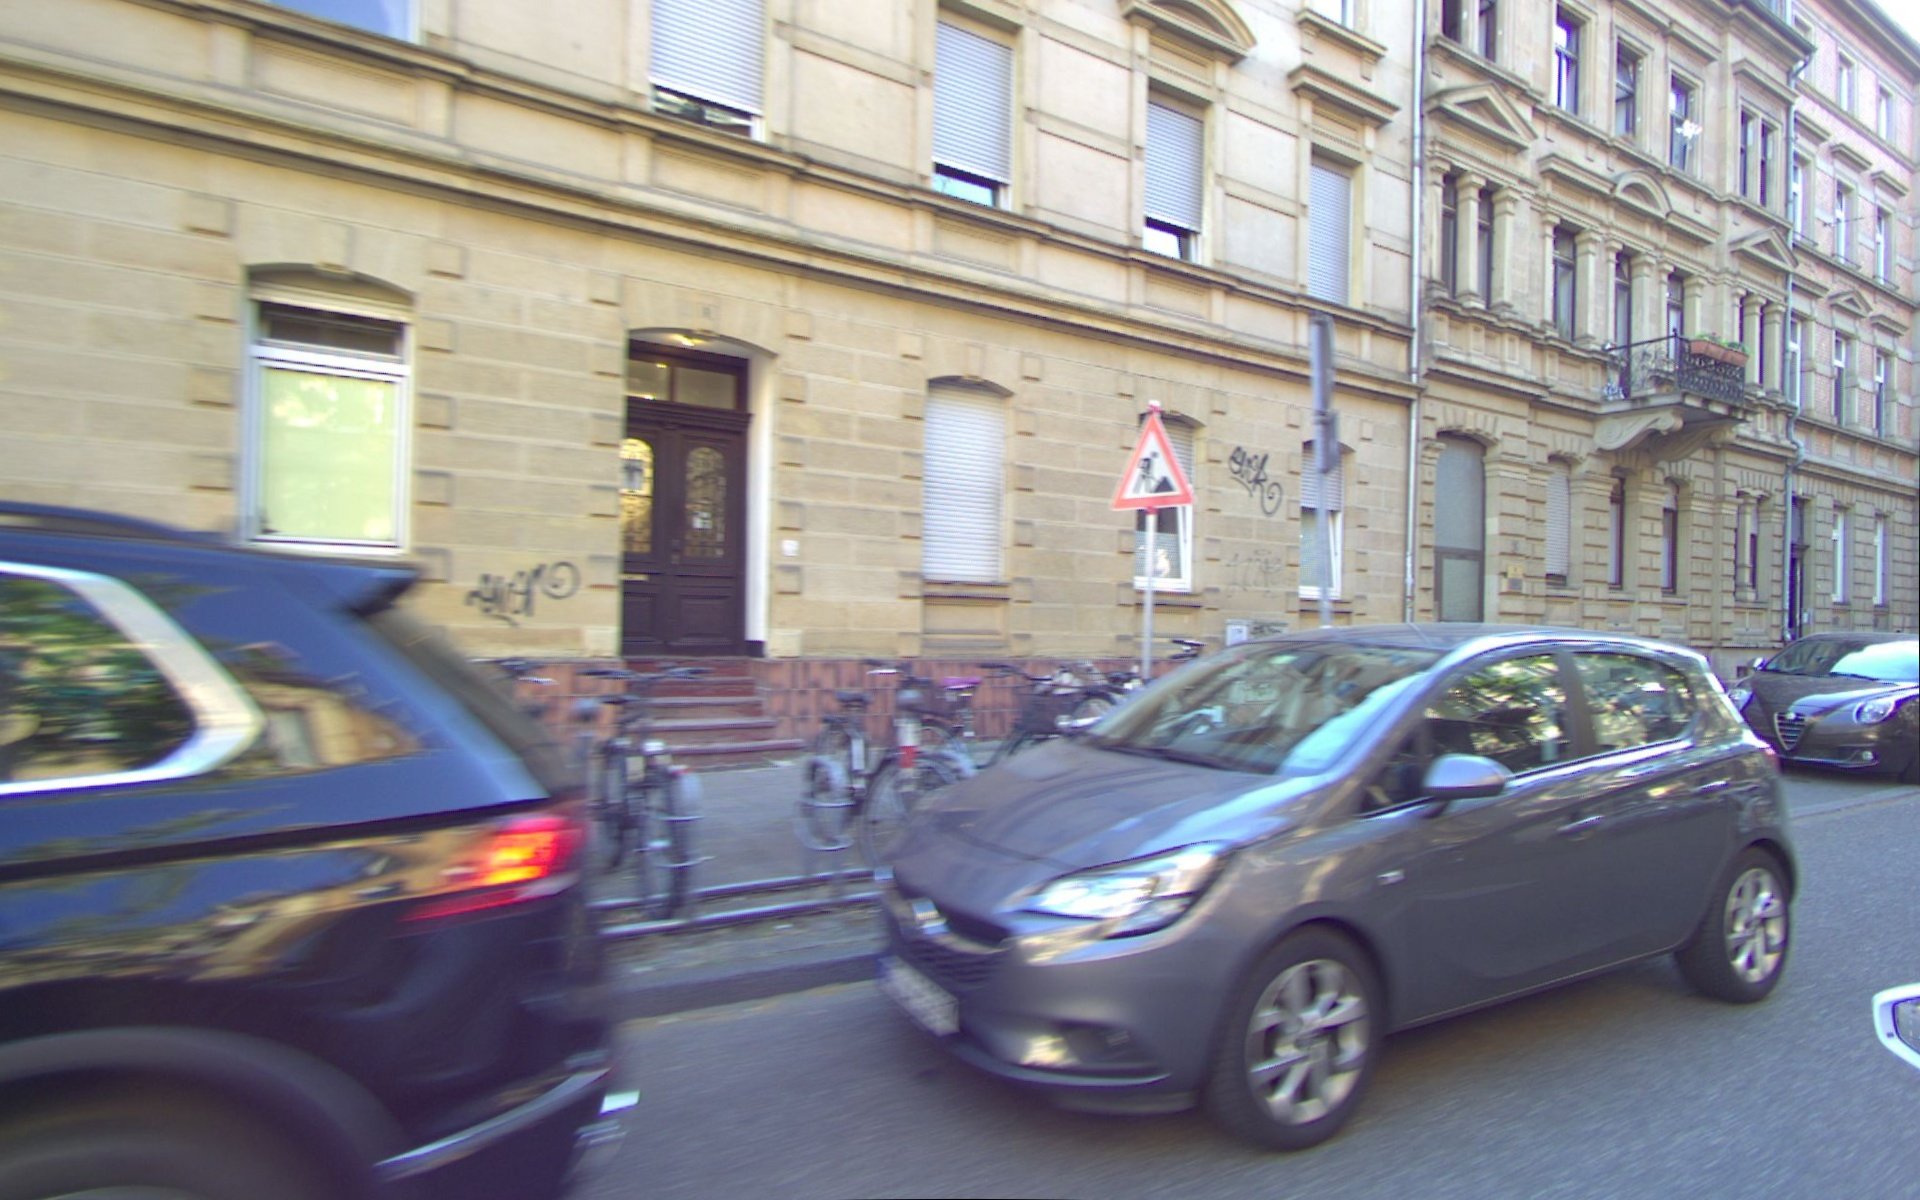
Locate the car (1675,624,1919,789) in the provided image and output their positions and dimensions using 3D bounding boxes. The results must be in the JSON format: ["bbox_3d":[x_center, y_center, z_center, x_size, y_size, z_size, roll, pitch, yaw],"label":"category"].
[{"bbox_3d":[9.867,1.037,11.025,4.010,1.521,1.751,1,-2,-29],"label":"car"}]

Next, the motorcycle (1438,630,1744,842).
[{"bbox_3d":[5.008,0.957,7.905,2.579,1.388,1.059,1,0,-34],"label":"motorcycle"}]

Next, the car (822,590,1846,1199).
[{"bbox_3d":[1.632,0.792,4.104,4.010,1.521,1.751,1,-2,-29],"label":"car"}]

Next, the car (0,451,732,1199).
[{"bbox_3d":[-2.811,0.597,1.612,4.491,1.621,1.752,1,-2,-27],"label":"car"}]

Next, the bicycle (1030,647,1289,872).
[{"bbox_3d":[1.213,0.935,6.545,0.522,1.143,1.858,2,0,-30],"label":"bicycle"}]

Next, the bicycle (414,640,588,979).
[{"bbox_3d":[-2.169,0.808,4.617,0.522,1.143,1.858,2,0,-30],"label":"bicycle"}]

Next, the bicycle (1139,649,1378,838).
[{"bbox_3d":[2.186,1.007,7.632,0.522,1.143,1.858,2,0,-30],"label":"bicycle"}]

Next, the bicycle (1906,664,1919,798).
[{"bbox_3d":[9.804,1.146,8.222,2.864,1.173,0.999,0,-1,14],"label":"bicycle"}]

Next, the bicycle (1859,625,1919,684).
[{"bbox_3d":[21.604,1.226,23.010,2.795,1.272,0.736,1,0,-32],"label":"bicycle"}]

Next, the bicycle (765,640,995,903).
[{"bbox_3d":[-0.534,0.855,5.704,0.522,1.143,1.858,2,0,-30],"label":"bicycle"}]

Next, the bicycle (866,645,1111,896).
[{"bbox_3d":[0.088,0.897,5.956,0.522,1.143,1.858,2,0,-30],"label":"bicycle"}]

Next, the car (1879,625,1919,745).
[{"bbox_3d":[13.878,1.123,13.184,3.655,1.495,1.585,1,1,-29],"label":"car"}]

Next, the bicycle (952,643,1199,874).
[{"bbox_3d":[0.649,0.902,6.371,0.522,1.143,1.858,2,0,-30],"label":"bicycle"}]

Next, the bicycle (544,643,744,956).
[{"bbox_3d":[-1.624,0.842,4.949,0.522,1.143,1.858,2,0,-30],"label":"bicycle"}]

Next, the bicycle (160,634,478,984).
[{"bbox_3d":[-2.821,0.770,4.333,1.843,1.143,0.526,2,0,37],"label":"bicycle"}]

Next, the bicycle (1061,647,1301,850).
[{"bbox_3d":[1.488,0.962,7.134,0.522,1.143,1.858,2,0,-30],"label":"bicycle"}]
